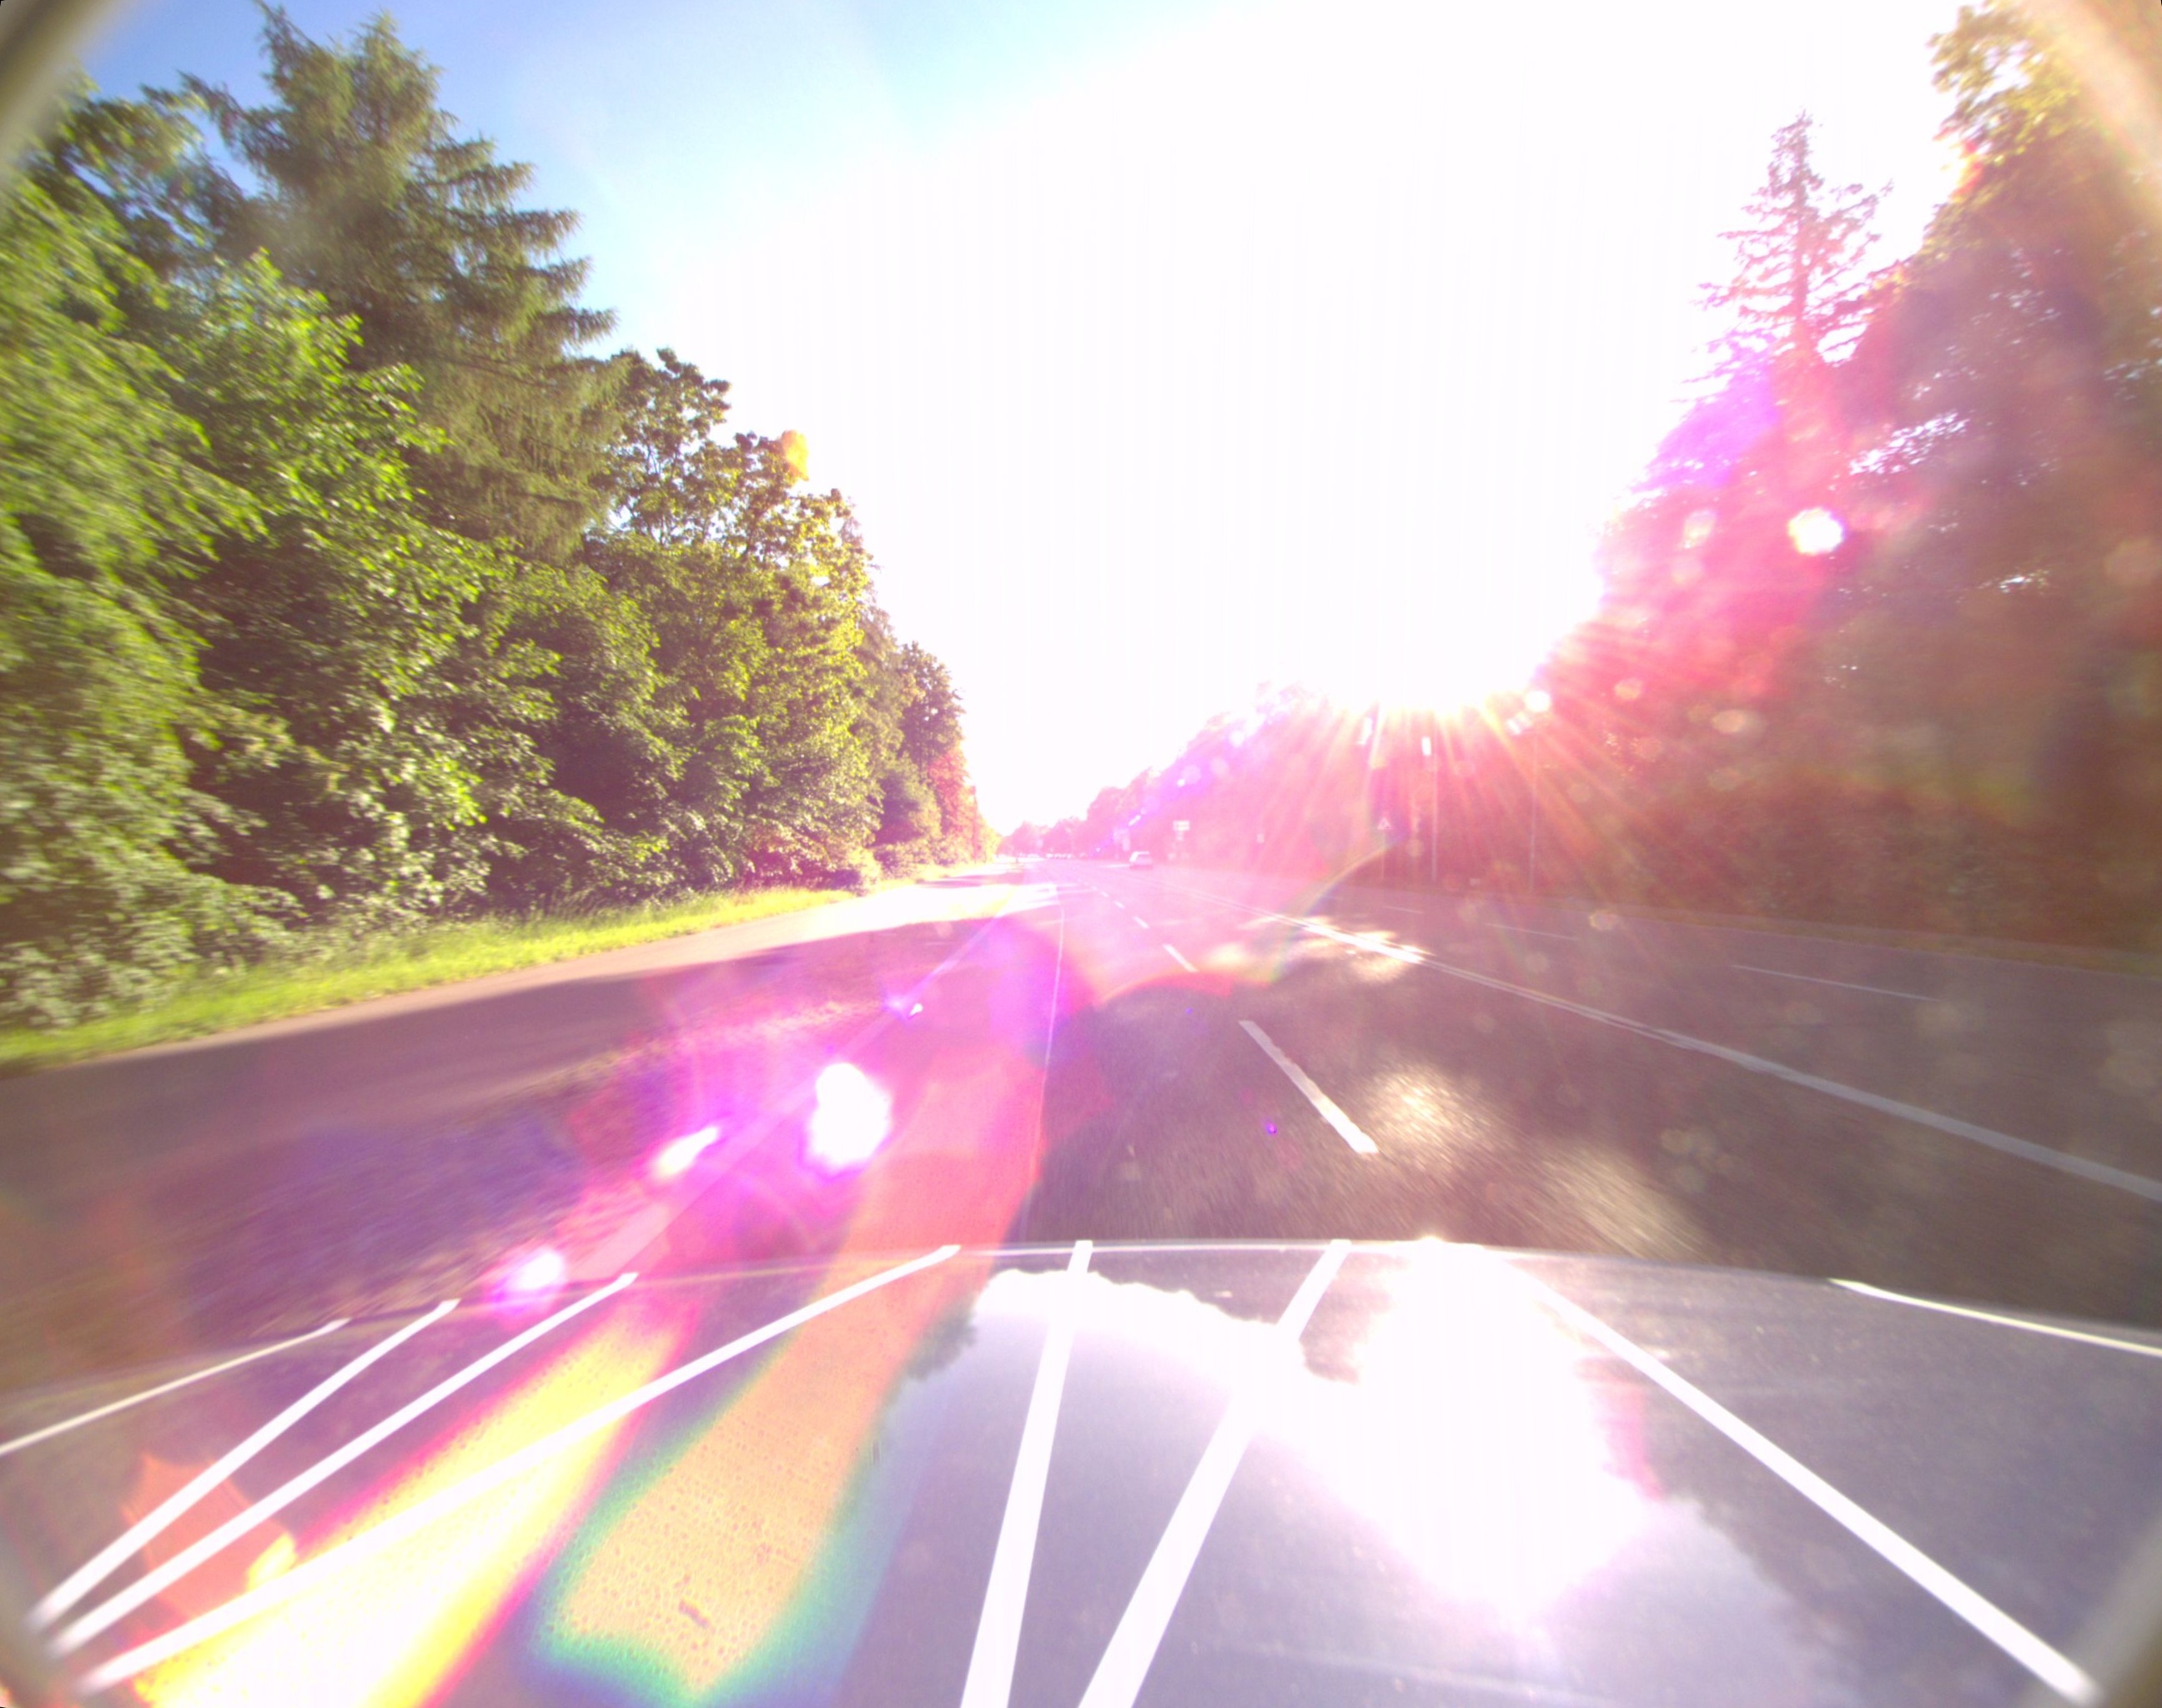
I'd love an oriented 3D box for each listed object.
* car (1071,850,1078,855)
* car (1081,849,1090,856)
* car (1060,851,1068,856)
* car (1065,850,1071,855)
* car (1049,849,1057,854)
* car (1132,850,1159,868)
[{"bbox_3d":[-2.092,-0.448,227.096,1.830,1.495,4.304,-1,0,-4],"label":"car"},{"bbox_3d":[1.082,-0.421,194.876,1.830,1.580,4.349,-1,0,-4],"label":"car"},{"bbox_3d":[-5.590,-0.211,247.089,2.000,1.555,4.334,-1,0,-9],"label":"car"},{"bbox_3d":[-3.994,-0.437,240.100,1.830,1.536,4.255,-1,0,-2],"label":"car"},{"bbox_3d":[-9.528,-0.902,261.693,2.000,1.627,4.838,-1,0,-11],"label":"car"},{"bbox_3d":[6.131,0.454,72.915,1.913,1.654,4.732,-1,0,-4],"label":"car"}]
